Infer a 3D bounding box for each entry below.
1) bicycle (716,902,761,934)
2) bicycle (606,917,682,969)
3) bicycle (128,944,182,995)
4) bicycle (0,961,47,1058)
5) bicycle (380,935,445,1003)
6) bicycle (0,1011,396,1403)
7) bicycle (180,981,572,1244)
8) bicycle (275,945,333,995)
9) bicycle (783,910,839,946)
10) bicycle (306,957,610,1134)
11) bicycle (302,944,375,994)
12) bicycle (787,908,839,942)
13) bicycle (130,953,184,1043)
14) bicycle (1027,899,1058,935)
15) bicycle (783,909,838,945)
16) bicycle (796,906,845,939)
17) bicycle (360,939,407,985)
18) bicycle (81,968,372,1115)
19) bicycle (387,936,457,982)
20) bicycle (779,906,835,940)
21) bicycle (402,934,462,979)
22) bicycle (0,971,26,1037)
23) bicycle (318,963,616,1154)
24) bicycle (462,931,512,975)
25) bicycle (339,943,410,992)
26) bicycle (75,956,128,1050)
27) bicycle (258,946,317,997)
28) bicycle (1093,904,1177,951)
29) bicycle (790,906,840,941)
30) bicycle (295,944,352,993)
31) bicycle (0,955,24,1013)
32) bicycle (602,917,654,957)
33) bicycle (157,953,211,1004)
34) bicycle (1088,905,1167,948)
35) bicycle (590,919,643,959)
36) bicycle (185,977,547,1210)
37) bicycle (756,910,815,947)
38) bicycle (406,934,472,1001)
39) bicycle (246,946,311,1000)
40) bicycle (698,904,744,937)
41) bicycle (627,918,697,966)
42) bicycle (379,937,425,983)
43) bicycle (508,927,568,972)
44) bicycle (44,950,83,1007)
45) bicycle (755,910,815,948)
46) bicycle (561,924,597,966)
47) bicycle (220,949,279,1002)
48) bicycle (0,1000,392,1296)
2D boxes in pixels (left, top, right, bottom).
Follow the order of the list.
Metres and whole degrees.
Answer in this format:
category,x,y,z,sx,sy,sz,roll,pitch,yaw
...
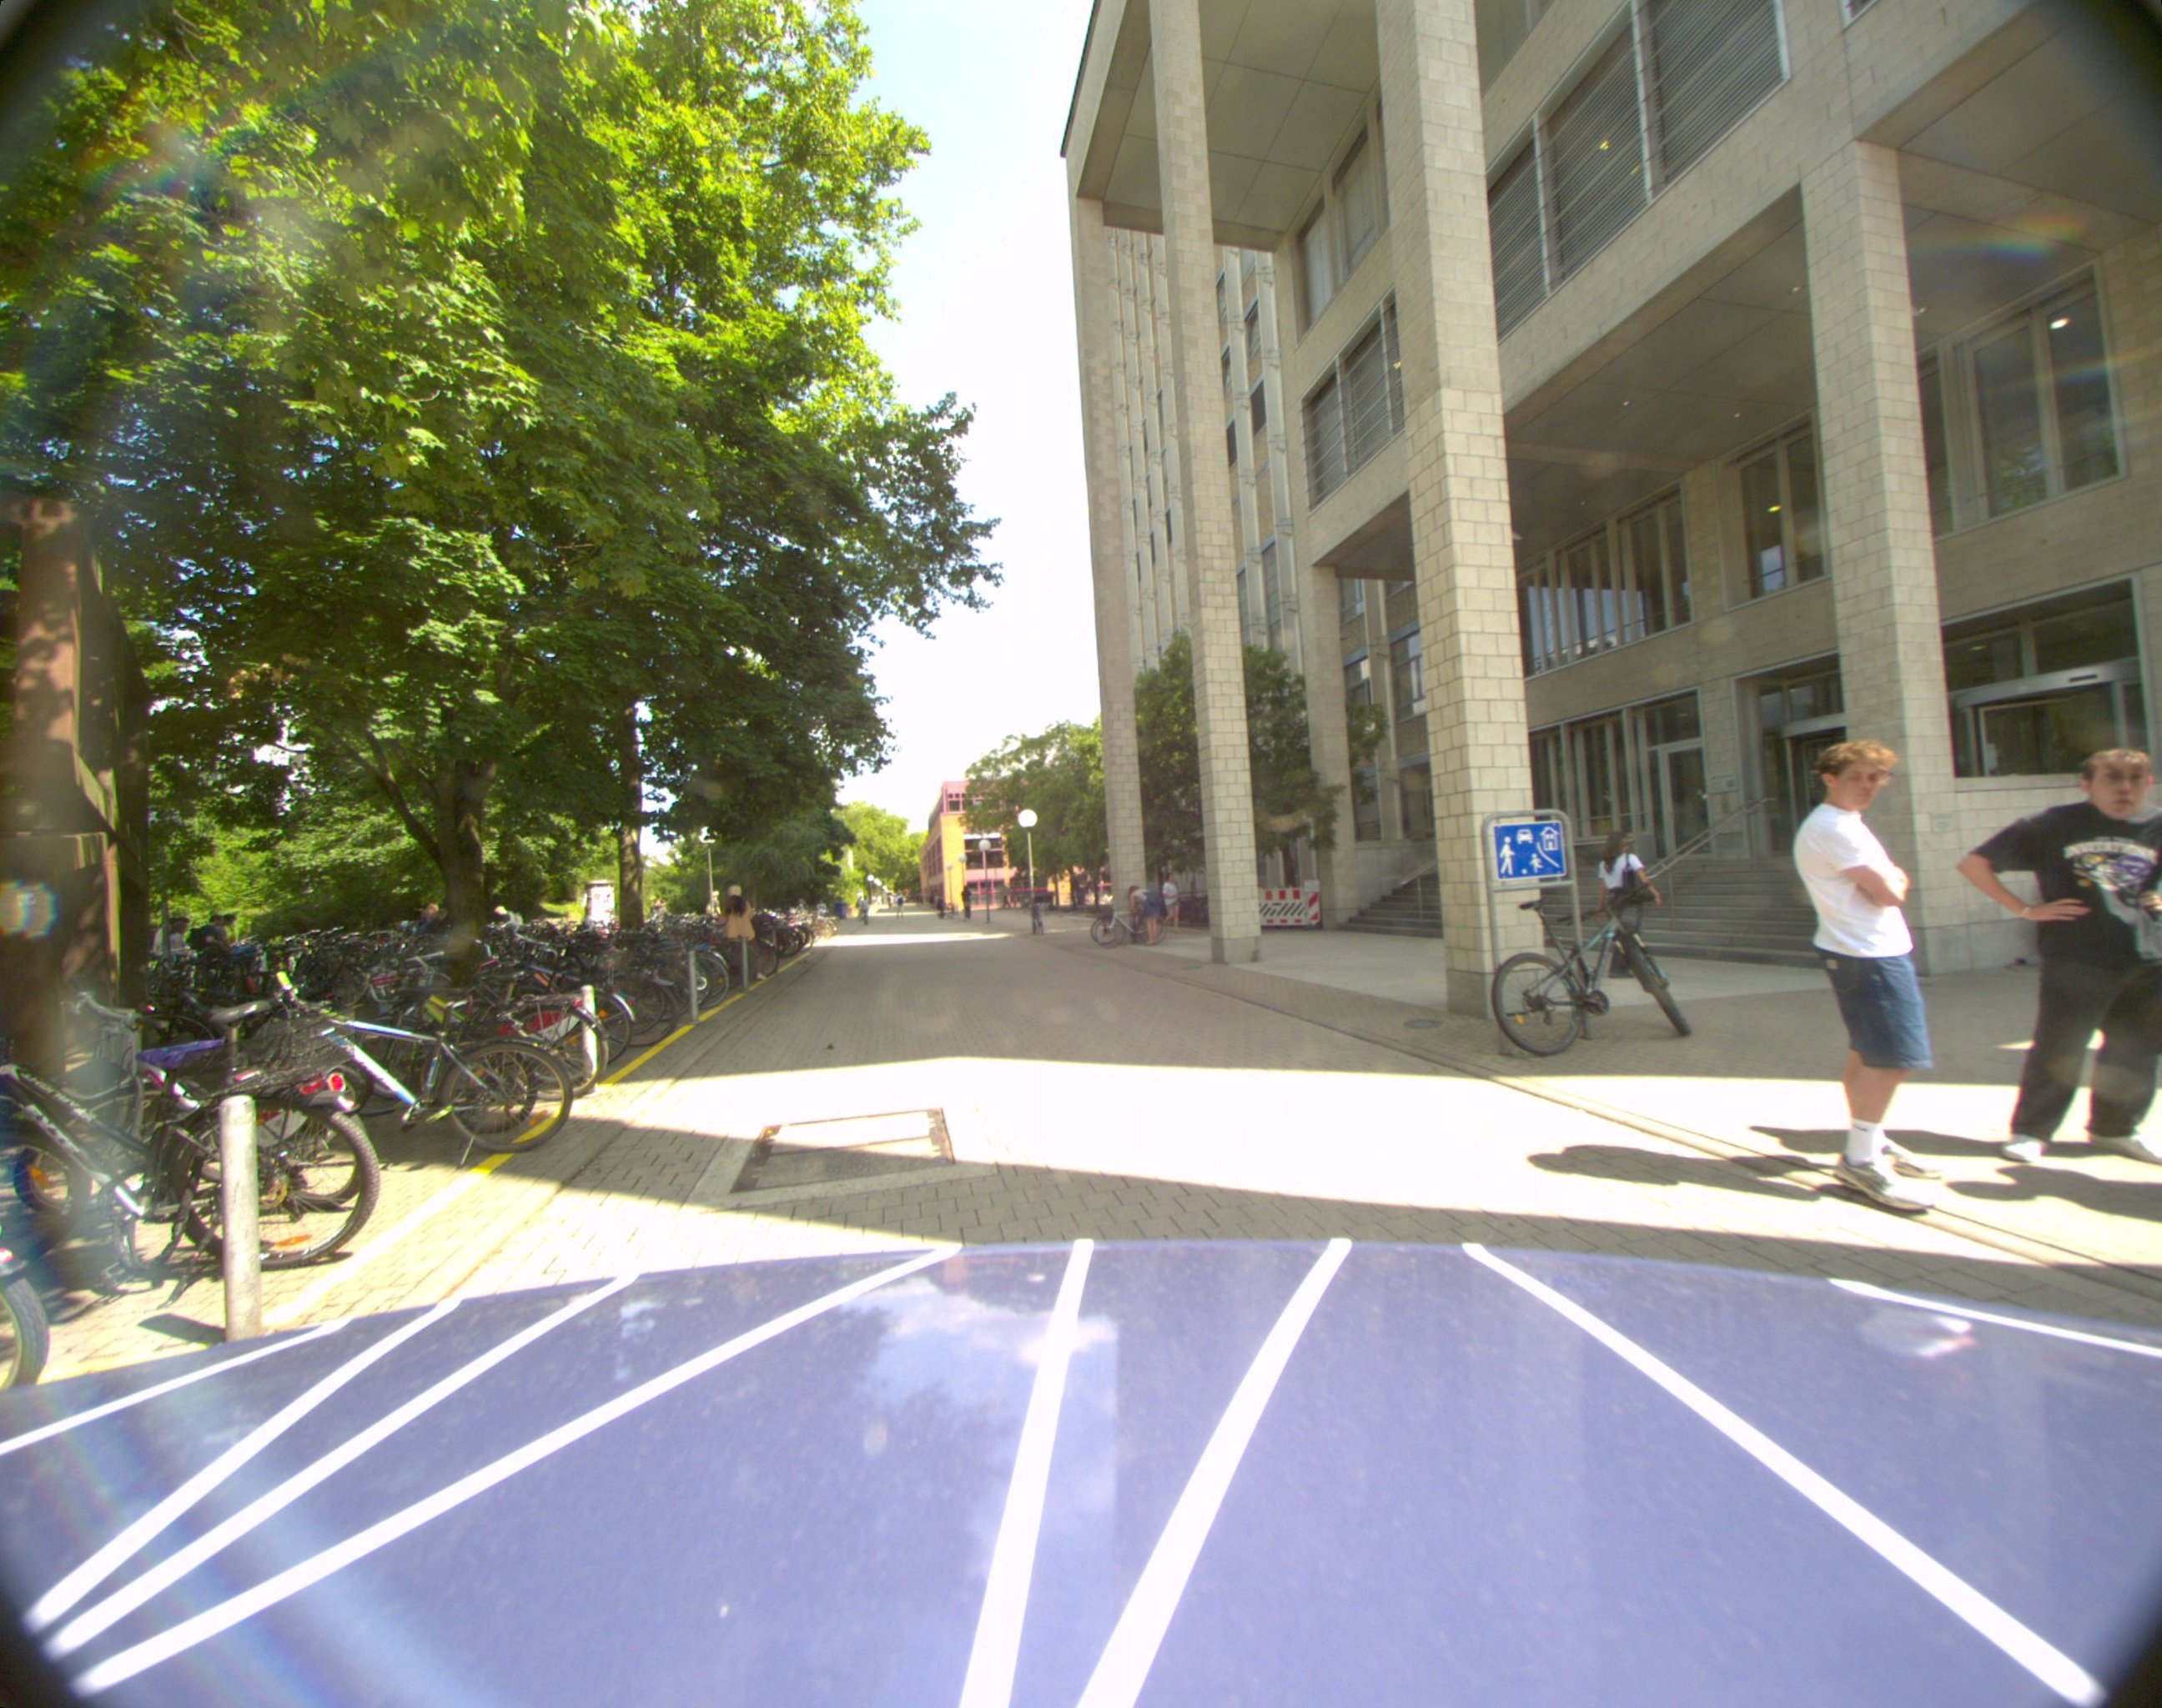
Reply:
category,x,y,z,sx,sy,sz,roll,pitch,yaw
bicycle,-12.584,2.363,27.910,1.685,1.076,0.480,-5,-4,22
bicycle,-10.395,2.111,18.106,1.473,1.077,0.352,-3,-1,-17
bicycle,-19.236,2.374,15.775,1.797,0.973,0.379,-4,0,30
bicycle,-14.644,2.102,10.469,1.840,1.163,0.414,-4,-1,37
bicycle,-12.340,2.097,14.009,1.840,1.163,0.346,-4,-1,31
bicycle,-3.629,1.263,2.817,1.490,1.134,0.561,-2,0,-16
bicycle,-3.630,1.298,4.030,1.441,1.079,0.460,-2,0,-16
bicycle,-18.006,2.687,17.608,1.469,1.076,0.353,-5,-4,20
bicycle,-8.921,2.451,25.105,1.689,1.076,0.528,-2,-4,-19
bicycle,-4.510,1.369,5.591,1.696,1.079,0.482,-2,0,-9
bicycle,-15.840,2.431,16.201,1.899,0.973,0.479,-4,0,27
bicycle,-9.518,2.513,27.003,1.689,1.076,0.528,-2,-4,-19
bicycle,-13.753,2.097,11.296,1.840,1.163,0.414,-4,-1,37
bicycle,-1.252,2.005,24.384,0.571,1.096,1.832,-2,-2,-16
bicycle,-9.093,2.456,25.610,1.689,1.076,0.528,-2,-4,-19
bicycle,-9.713,2.549,28.378,1.689,1.143,0.551,-2,-4,-19
bicycle,-17.191,2.672,18.713,1.468,1.076,0.353,-5,-4,27
bicycle,-7.377,1.601,6.615,1.827,1.071,0.463,-2,0,-6
bicycle,-15.210,2.419,17.528,1.899,0.973,0.479,-4,0,27
bicycle,-9.463,2.389,26.253,1.687,1.076,0.529,-3,-4,-4
bicycle,-16.715,2.642,19.576,1.469,1.076,0.353,-4,-4,12
bicycle,-18.224,2.521,12.751,1.899,0.973,0.479,-4,0,33
bicycle,-4.117,1.350,5.181,1.515,1.079,0.482,-2,0,-9
bicycle,-14.442,2.380,18.464,1.899,0.973,0.479,-4,0,39
bicycle,-15.643,2.498,16.806,1.899,0.973,0.479,-4,0,27
bicycle,-14.052,2.094,10.897,1.840,1.163,0.414,-4,-1,37
bicycle,-17.985,2.659,17.219,1.469,1.076,0.353,-5,-4,20
bicycle,1.197,1.631,16.896,1.776,0.894,0.337,-4,-2,-9
bicycle,-9.710,2.532,27.749,1.689,1.143,0.551,-2,-4,-19
bicycle,-17.885,2.709,17.945,1.469,1.076,0.353,-5,-4,20
bicycle,-20.098,2.423,14.152,1.592,0.973,0.405,-4,0,37
bicycle,-13.135,2.411,22.027,1.469,1.076,0.353,-4,-4,14
bicycle,-19.023,2.624,16.100,1.797,0.973,0.379,-4,0,30
bicycle,1.081,1.692,17.726,1.774,0.894,0.449,-3,-2,4
bicycle,-13.233,2.420,21.641,1.469,1.076,0.353,-4,-4,14
bicycle,-4.059,1.332,4.412,1.474,1.079,0.460,-2,0,-13
bicycle,-9.439,2.381,24.324,1.689,1.076,0.528,-2,-4,-19
bicycle,-12.040,2.097,14.235,1.840,1.163,0.346,-4,-1,31
bicycle,-16.203,2.371,15.331,1.899,0.973,0.479,-4,0,32
bicycle,-12.851,2.386,27.125,1.685,1.076,0.480,-5,-4,23
bicycle,-10.537,2.204,19.147,1.473,1.077,0.352,-3,-1,-26
bicycle,-17.024,2.661,19.039,1.468,1.076,0.353,-5,-4,27
bicycle,-13.954,2.455,19.517,1.469,1.076,0.479,-5,-4,19
bicycle,-19.847,2.404,14.830,1.592,0.973,0.405,-4,0,37
bicycle,-9.214,2.337,23.720,1.689,1.076,0.478,-2,-4,-19
bicycle,-13.624,2.458,20.598,1.468,1.076,0.455,-7,-5,42
bicycle,-18.227,2.676,16.656,1.469,1.076,0.353,-5,-4,21
bicycle,-4.095,1.288,3.462,1.524,1.134,0.492,-2,0,5
